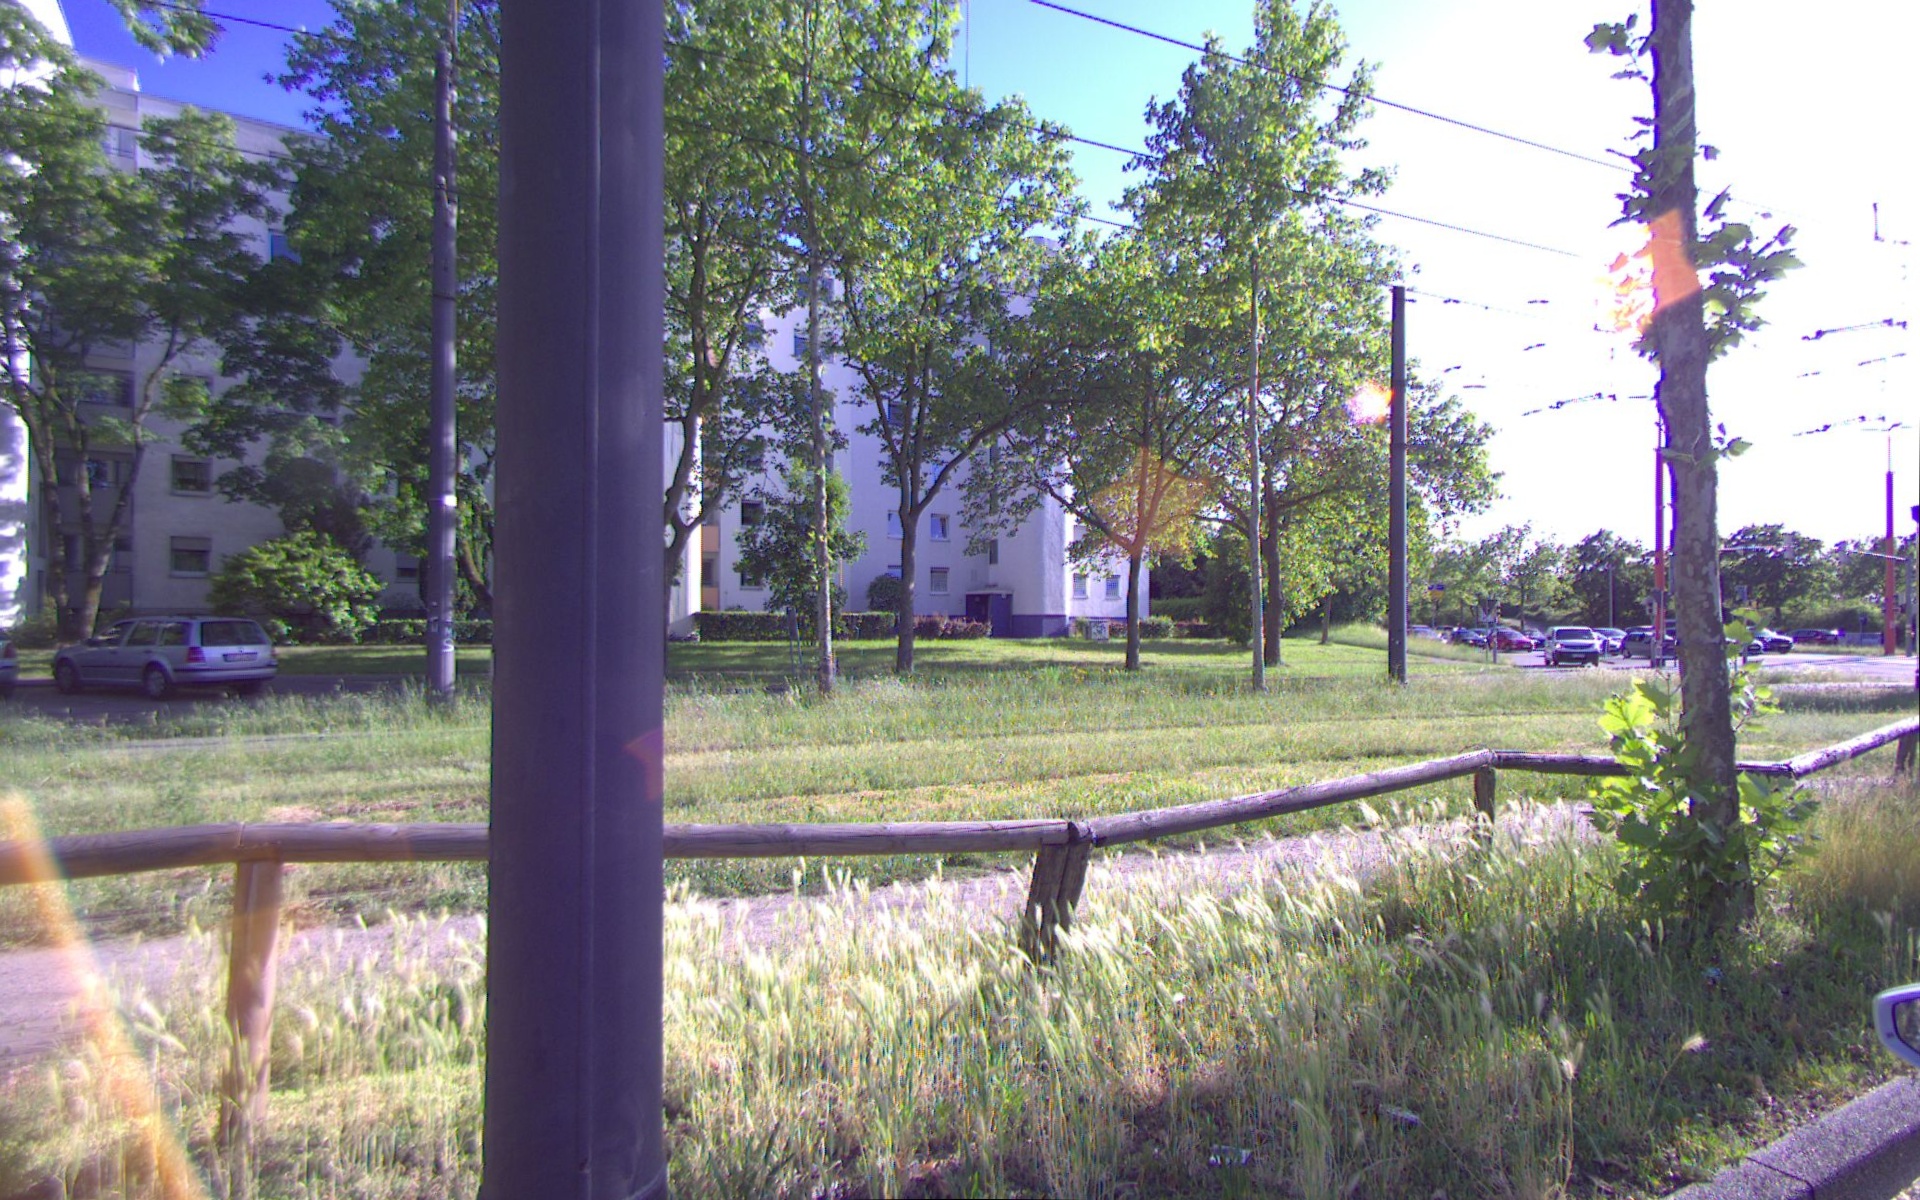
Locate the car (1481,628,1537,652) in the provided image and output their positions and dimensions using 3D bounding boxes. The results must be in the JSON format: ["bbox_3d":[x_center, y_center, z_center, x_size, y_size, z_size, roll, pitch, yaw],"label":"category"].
[{"bbox_3d":[38.454,2.773,70.459,1.624,1.540,4.200,1,-1,1],"label":"car"}]

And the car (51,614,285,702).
[{"bbox_3d":[-14.531,1.007,18.439,3.830,1.421,1.581,1,0,20],"label":"car"}]

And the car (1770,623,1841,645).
[{"bbox_3d":[62.870,2.527,74.763,1.625,1.491,4.130,1,-1,-4],"label":"car"}]

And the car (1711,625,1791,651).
[{"bbox_3d":[48.658,2.319,61.904,1.513,1.434,4.154,1,-1,-3],"label":"car"}]

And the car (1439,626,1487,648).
[{"bbox_3d":[38.666,2.812,77.262,1.624,1.540,4.200,1,-1,1],"label":"car"}]

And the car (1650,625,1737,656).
[{"bbox_3d":[42.332,2.305,58.113,1.624,1.669,4.644,1,-1,1],"label":"car"}]

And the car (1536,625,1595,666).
[{"bbox_3d":[29.701,2.193,49.399,1.798,1.845,4.900,1,-1,23],"label":"car"}]

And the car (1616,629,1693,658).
[{"bbox_3d":[38.970,2.404,56.456,1.624,1.460,3.841,1,-1,-2],"label":"car"}]

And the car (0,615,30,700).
[{"bbox_3d":[-17.980,0.943,17.165,3.567,1.421,1.581,1,0,20],"label":"car"}]

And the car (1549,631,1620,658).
[{"bbox_3d":[38.924,2.752,62.744,1.624,1.540,4.638,1,-1,1],"label":"car"}]

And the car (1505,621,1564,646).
[{"bbox_3d":[42.275,2.428,74.078,1.721,1.669,4.644,1,-1,1],"label":"car"}]

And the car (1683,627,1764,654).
[{"bbox_3d":[45.580,2.390,60.070,1.513,1.434,4.154,1,-1,-3],"label":"car"}]
